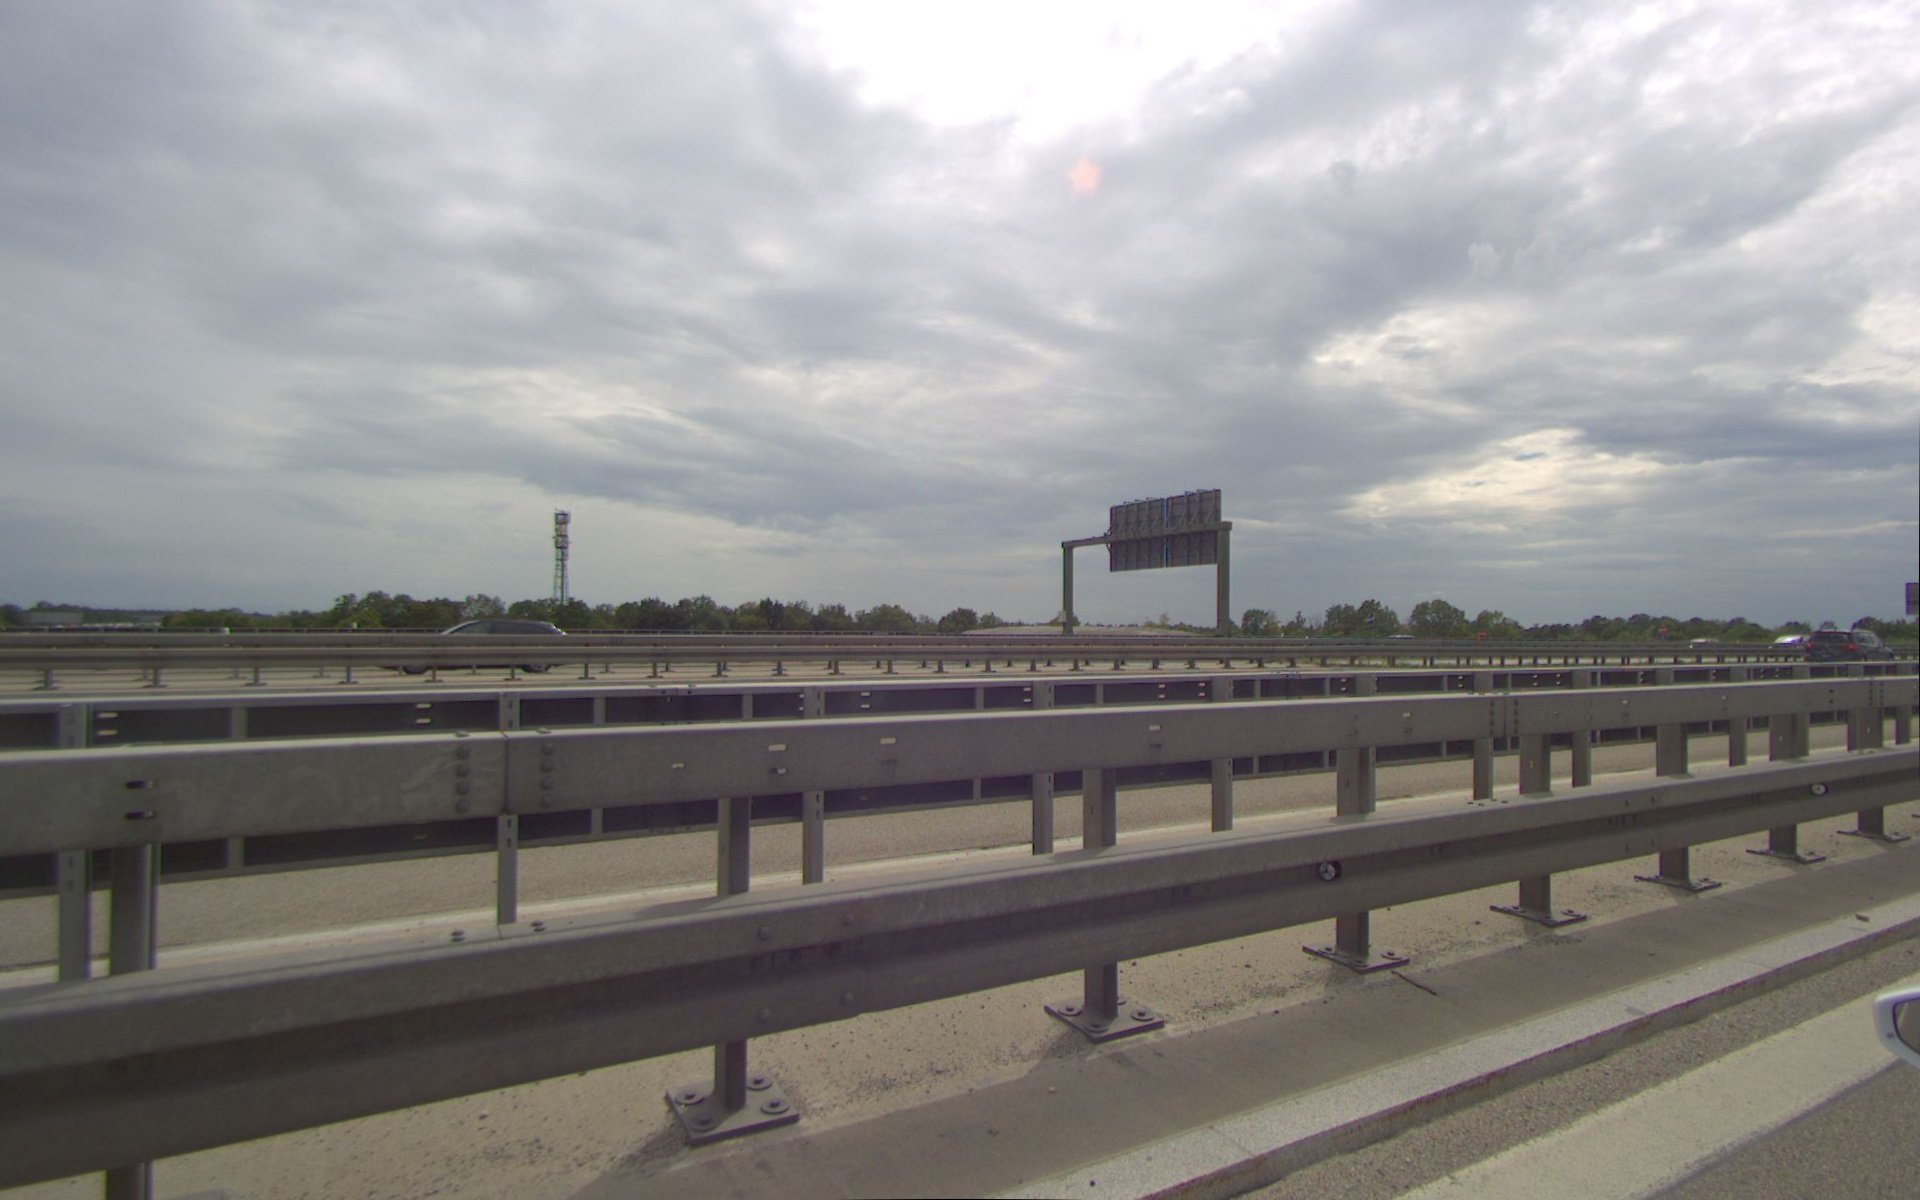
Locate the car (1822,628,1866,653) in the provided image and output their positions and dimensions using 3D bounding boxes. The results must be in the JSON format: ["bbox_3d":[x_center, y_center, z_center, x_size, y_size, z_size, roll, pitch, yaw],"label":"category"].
[{"bbox_3d":[88.157,4.039,100.183,4.437,2.337,1.984,1,0,-30],"label":"car"}]

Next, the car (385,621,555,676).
[{"bbox_3d":[-12.991,1.245,26.678,3.954,1.344,1.706,1,-1,-31],"label":"car"}]

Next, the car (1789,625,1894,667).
[{"bbox_3d":[35.679,1.809,40.620,4.561,1.567,1.871,1,0,-31],"label":"car"}]
